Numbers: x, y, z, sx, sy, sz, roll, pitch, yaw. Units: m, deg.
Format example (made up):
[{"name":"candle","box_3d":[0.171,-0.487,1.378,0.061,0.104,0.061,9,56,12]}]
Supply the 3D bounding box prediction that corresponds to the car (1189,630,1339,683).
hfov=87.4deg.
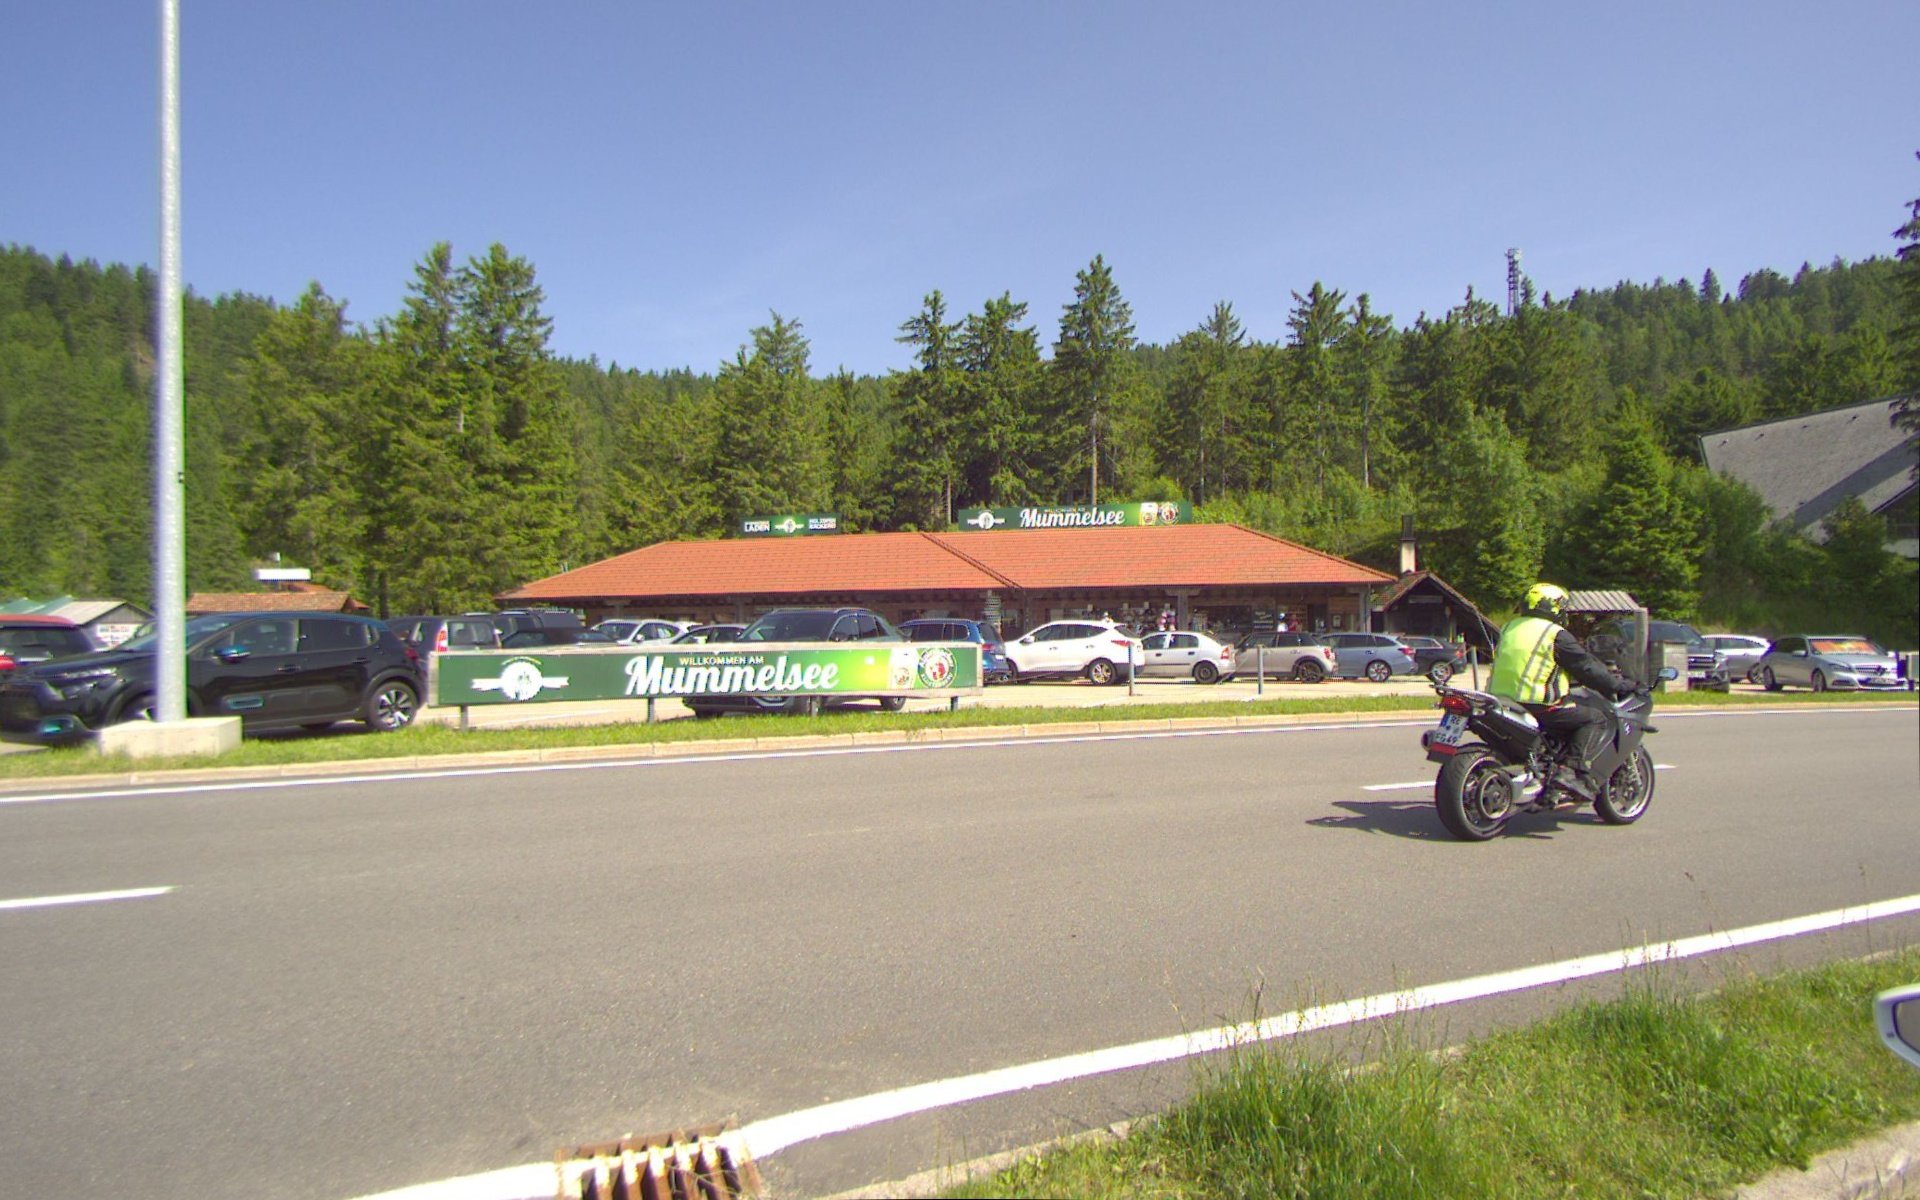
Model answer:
[{"name":"car","box_3d":[8.687,1.630,28.720,3.924,1.438,1.684,-2,-4,23]}]

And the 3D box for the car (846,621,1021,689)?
[{"name":"car","box_3d":[-0.661,1.385,25.312,3.923,1.594,2.000,-2,-2,22]}]

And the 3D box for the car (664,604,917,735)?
[{"name":"car","box_3d":[-2.245,0.893,14.451,1.707,1.588,4.058,0,-1,22]}]

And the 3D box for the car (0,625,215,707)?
[{"name":"car","box_3d":[-17.888,1.357,20.892,3.921,1.572,2.000,-2,-2,19]}]

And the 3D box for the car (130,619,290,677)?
[{"name":"car","box_3d":[-21.646,1.377,29.015,3.805,1.550,1.910,-2,-2,20]}]

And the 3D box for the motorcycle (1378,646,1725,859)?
[{"name":"motorcycle","box_3d":[3.919,0.918,6.628,2.254,1.192,0.820,1,0,-24]}]

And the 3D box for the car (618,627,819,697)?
[{"name":"car","box_3d":[-5.298,1.347,22.065,3.923,1.438,1.907,-2,-2,22]}]

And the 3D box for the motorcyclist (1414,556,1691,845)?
[{"name":"motorcyclist","box_3d":[3.880,0.603,6.627,1.275,1.697,1.023,1,0,-24]}]

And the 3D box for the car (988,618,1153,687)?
[{"name":"car","box_3d":[2.888,1.380,26.215,3.952,1.693,1.777,-2,-3,21]}]

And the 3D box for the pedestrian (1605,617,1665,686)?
[{"name":"pedestrian","box_3d":[17.561,1.332,26.147,0.947,1.757,0.894,-1,-1,-24]}]

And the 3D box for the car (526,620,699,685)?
[{"name":"car","box_3d":[-9.139,1.389,26.462,3.921,1.594,2.000,-2,-2,19]}]

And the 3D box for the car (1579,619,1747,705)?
[{"name":"car","box_3d":[15.175,1.284,21.954,1.753,1.655,4.213,1,-2,16]}]

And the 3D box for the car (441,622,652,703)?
[{"name":"car","box_3d":[-8.651,1.285,21.036,3.924,1.565,1.898,-2,-2,23]}]

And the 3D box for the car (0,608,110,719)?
[{"name":"car","box_3d":[-16.485,1.069,17.029,3.927,1.726,1.824,-2,-2,27]}]

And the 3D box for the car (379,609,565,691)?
[{"name":"car","box_3d":[-12.151,1.256,25.055,3.921,1.929,2.000,-2,-2,19]}]

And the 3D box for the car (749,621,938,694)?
[{"name":"car","box_3d":[-2.710,1.334,23.502,3.923,1.594,2.000,-2,-2,22]}]

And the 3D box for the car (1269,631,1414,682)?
[{"name":"car","box_3d":[11.408,1.707,30.083,3.923,1.438,1.684,-2,-4,23]}]

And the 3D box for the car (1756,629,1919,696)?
[{"name":"car","box_3d":[20.862,1.440,23.967,1.710,1.460,3.971,-2,-2,20]}]

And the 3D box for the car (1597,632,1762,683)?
[{"name":"car","box_3d":[22.777,1.818,31.954,3.920,1.514,1.685,-1,0,17]}]

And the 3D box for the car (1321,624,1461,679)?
[{"name":"car","box_3d":[13.650,1.635,31.904,3.924,1.639,1.999,-2,-2,24]}]

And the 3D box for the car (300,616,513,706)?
[{"name":"car","box_3d":[-10.812,1.176,19.641,3.661,1.609,1.735,-2,-2,22]}]

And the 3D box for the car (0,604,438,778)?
[{"name":"car","box_3d":[-8.278,0.879,11.294,1.750,1.572,3.995,-2,-2,27]}]

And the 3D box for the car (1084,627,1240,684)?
[{"name":"car","box_3d":[5.579,1.544,27.708,3.947,1.487,1.777,-2,-3,21]}]

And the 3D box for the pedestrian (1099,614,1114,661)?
[{"name":"pedestrian","box_3d":[5.889,1.505,40.372,0.518,1.898,0.547,0,-1,20]}]
